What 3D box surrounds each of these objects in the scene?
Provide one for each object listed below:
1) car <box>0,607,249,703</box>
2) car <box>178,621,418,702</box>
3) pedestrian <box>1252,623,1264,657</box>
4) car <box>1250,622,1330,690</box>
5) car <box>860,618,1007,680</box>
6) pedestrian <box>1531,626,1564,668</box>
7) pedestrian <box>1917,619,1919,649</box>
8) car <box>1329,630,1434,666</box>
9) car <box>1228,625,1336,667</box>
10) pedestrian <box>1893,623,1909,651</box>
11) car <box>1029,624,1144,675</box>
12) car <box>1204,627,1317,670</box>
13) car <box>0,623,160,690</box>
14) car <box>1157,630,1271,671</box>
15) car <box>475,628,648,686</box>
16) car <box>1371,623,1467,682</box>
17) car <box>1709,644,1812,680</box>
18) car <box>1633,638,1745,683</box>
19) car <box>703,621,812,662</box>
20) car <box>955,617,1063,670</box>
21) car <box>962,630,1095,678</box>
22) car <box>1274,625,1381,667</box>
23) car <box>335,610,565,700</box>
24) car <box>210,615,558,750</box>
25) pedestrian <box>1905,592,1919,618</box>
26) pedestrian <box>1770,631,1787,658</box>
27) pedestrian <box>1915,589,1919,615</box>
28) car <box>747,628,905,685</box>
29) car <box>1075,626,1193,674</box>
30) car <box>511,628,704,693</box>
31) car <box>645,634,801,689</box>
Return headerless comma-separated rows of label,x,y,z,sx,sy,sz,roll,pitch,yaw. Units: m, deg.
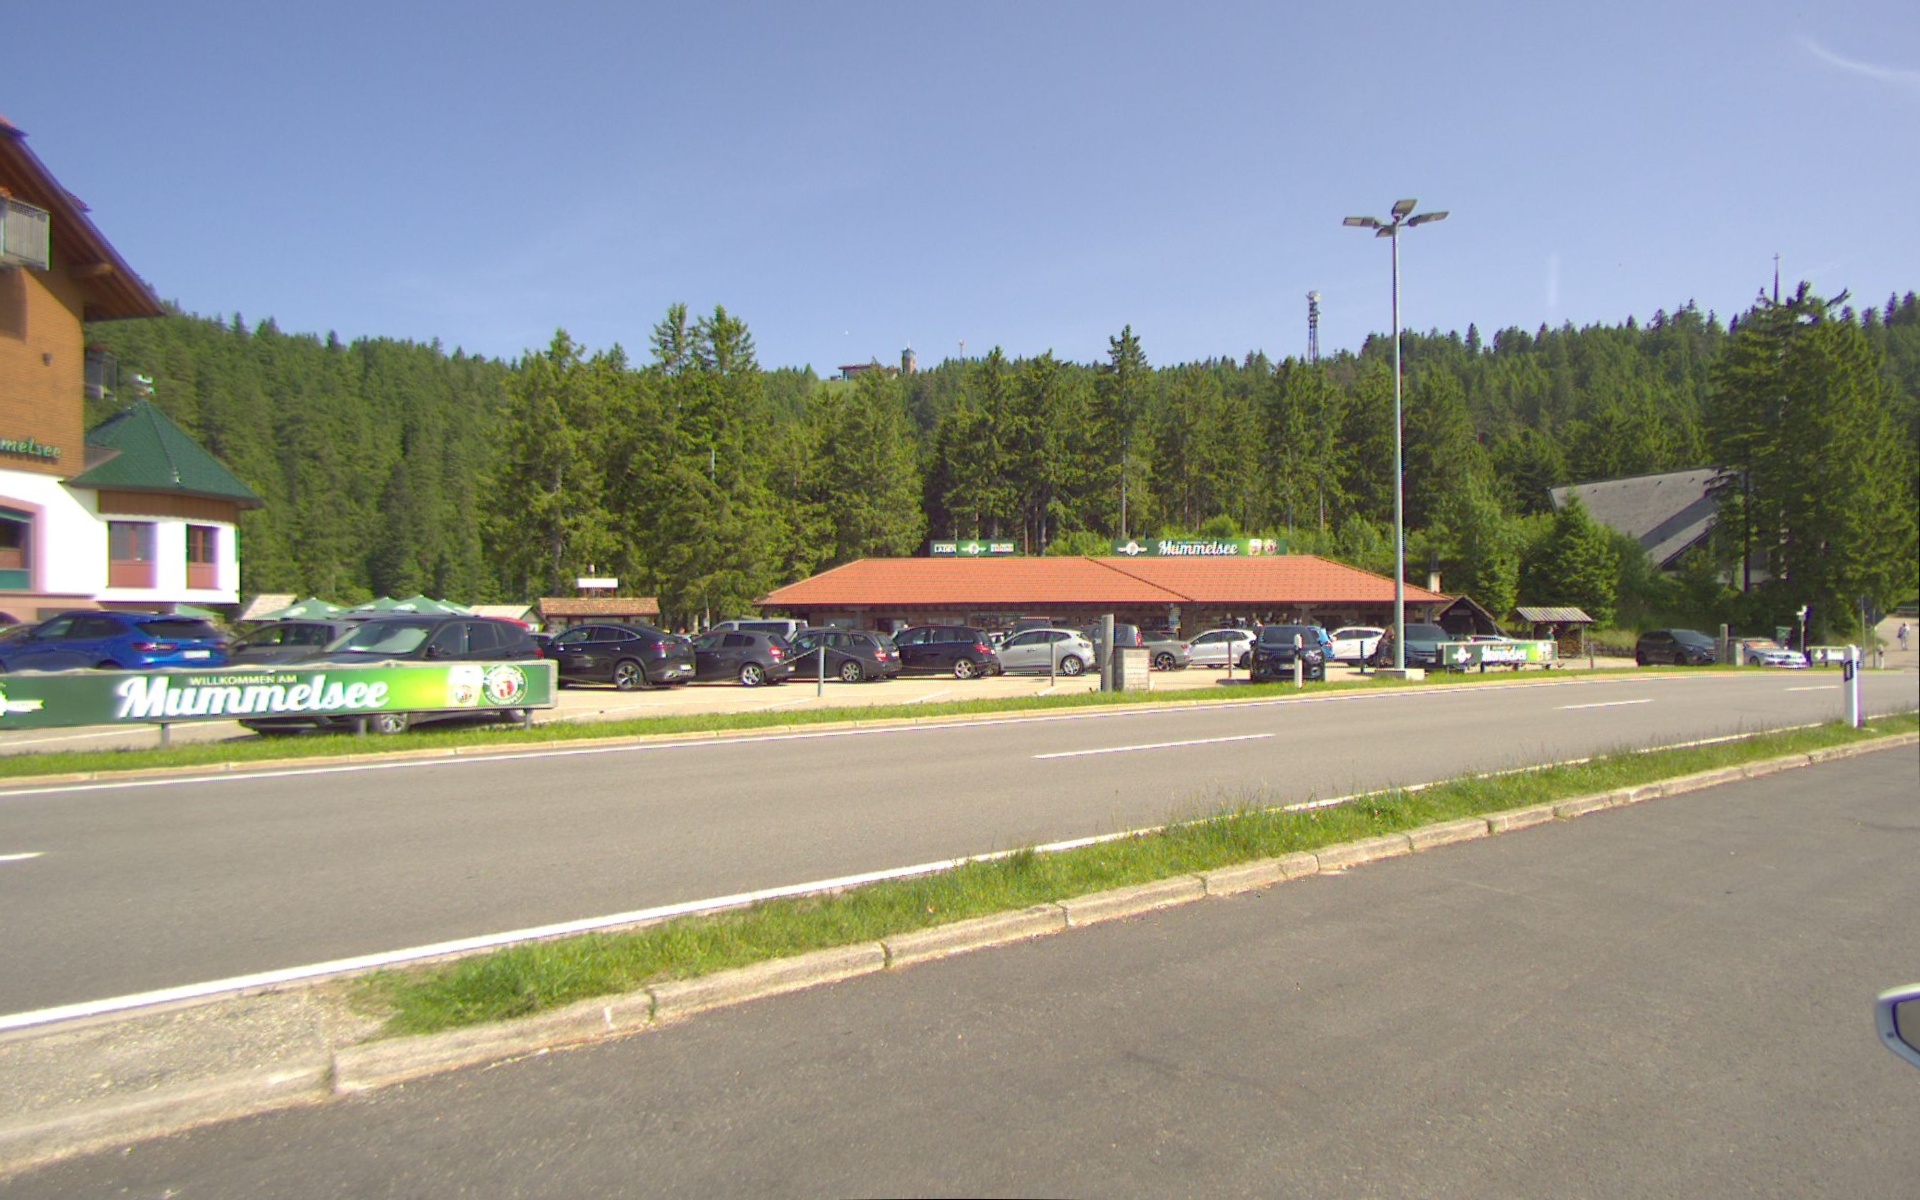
car,-16.223,0.991,19.008,4.453,1.686,1.941,0,-1,10
car,-13.707,1.263,20.896,3.919,1.566,2.001,-1,-1,12
pedestrian,16.906,2.284,56.982,0.517,1.898,0.548,1,-1,9
car,8.296,1.345,25.477,1.747,1.572,4.002,-1,-1,17
car,-0.764,1.429,29.404,3.920,1.726,1.827,-1,-1,16
pedestrian,25.129,1.990,42.955,0.951,1.757,0.891,0,-1,-35
pedestrian,59.379,2.096,61.819,0.638,1.823,0.647,1,-1,-41
car,18.601,2.129,44.456,3.944,1.487,1.778,-1,-3,10
car,12.969,1.859,40.700,3.919,1.594,2.002,-1,-2,11
pedestrian,58.444,2.294,62.364,0.638,1.688,0.647,4,-3,-41
car,4.224,1.619,33.277,3.657,1.609,1.736,-1,-1,11
car,11.468,1.852,38.583,3.919,1.594,2.002,-1,-2,11
car,-19.507,1.164,21.154,1.679,1.314,4.003,-1,-1,12
car,9.196,1.836,36.665,3.919,1.439,1.909,-1,-2,11
car,-10.789,1.537,27.338,3.919,1.502,1.937,-1,-2,8
car,13.485,1.485,29.720,1.705,1.588,4.062,0,-1,11
car,34.583,2.648,43.514,1.708,1.460,3.973,-1,-2,9
car,29.295,2.380,40.549,1.753,1.655,4.214,1,-2,5
car,-8.036,1.647,40.045,3.802,1.550,1.912,-1,-1,8
car,1.908,1.647,38.315,3.919,1.929,2.002,-1,-2,8
car,2.176,1.660,31.255,3.919,1.389,1.814,-1,-1,11
car,15.502,1.966,42.507,3.949,1.693,1.778,-1,-3,10
car,-11.391,1.218,22.513,4.438,1.888,1.836,-1,-1,13
car,-7.644,1.024,13.871,1.771,1.560,4.195,-1,-1,14
pedestrian,76.091,0.417,80.267,0.933,2.040,0.790,0,-2,-43
pedestrian,47.470,2.559,58.260,0.547,1.553,0.573,0,-1,-35
pedestrian,77.333,0.141,80.704,0.847,2.040,0.807,0,-2,-43
car,-3.689,1.555,27.874,3.997,1.505,1.717,-1,-1,11
car,6.086,1.736,35.052,3.919,1.565,1.901,-1,-1,12
car,-8.376,1.428,24.049,3.919,1.449,1.915,-1,-1,10
car,-6.101,1.580,26.027,3.565,1.339,1.589,-1,-1,9
